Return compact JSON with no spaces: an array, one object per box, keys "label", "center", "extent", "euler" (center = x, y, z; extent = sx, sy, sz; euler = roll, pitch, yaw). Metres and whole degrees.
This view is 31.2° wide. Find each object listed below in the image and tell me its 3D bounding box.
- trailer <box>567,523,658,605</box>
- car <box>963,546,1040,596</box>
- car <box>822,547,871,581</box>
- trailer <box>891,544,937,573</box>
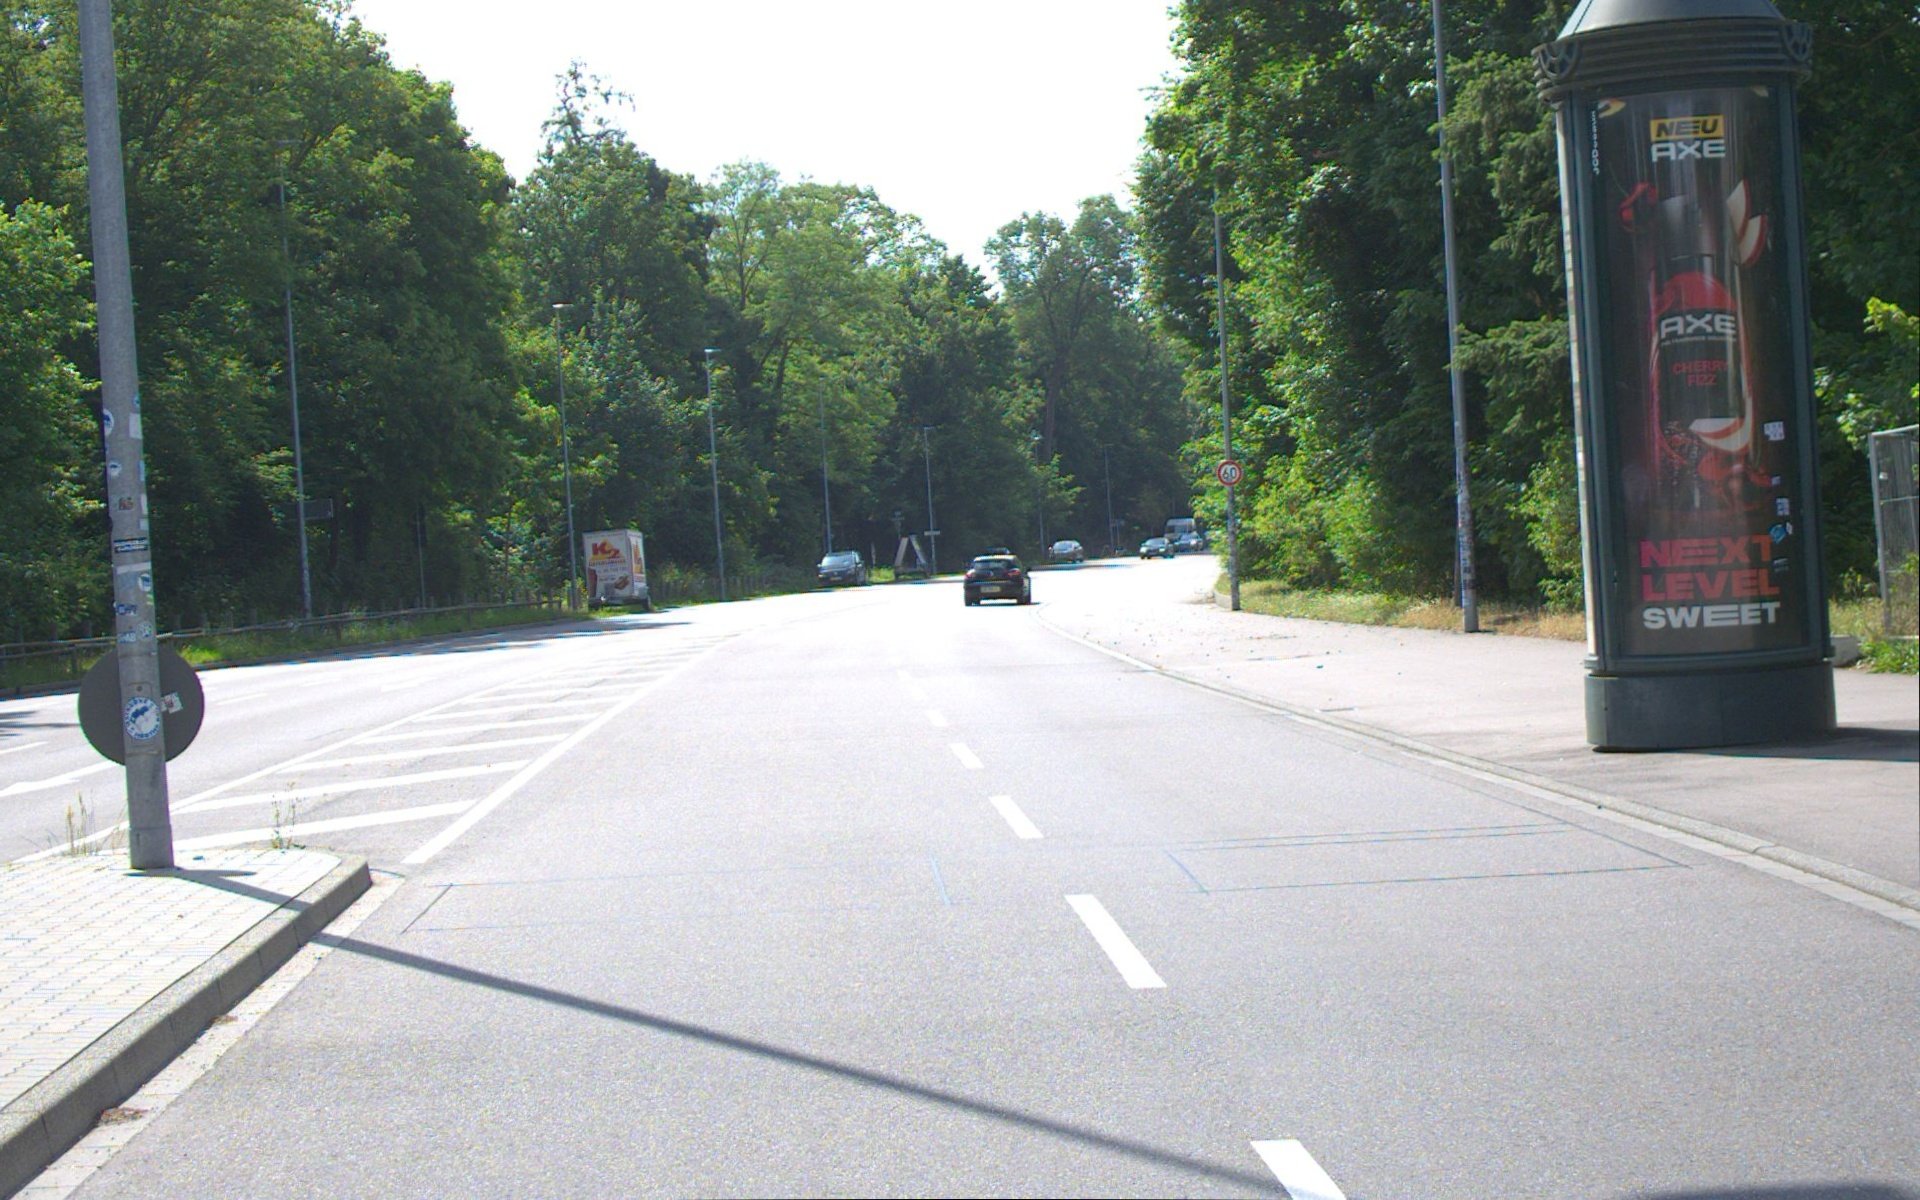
[{"label":"trailer","center":[-10.613,-1.111,105.149],"extent":[1.994,2.380,3.999],"euler":[-2,1,5]},{"label":"car","center":[1.229,-0.858,100.352],"extent":[1.598,1.373,3.974],"euler":[-2,1,10]},{"label":"car","center":[-5.079,-1.618,153.677],"extent":[1.504,1.441,3.528],"euler":[-2,1,9]},{"label":"trailer","center":[-2.335,-2.135,176.221],"extent":[1.717,1.350,3.731],"euler":[-2,1,9]}]
